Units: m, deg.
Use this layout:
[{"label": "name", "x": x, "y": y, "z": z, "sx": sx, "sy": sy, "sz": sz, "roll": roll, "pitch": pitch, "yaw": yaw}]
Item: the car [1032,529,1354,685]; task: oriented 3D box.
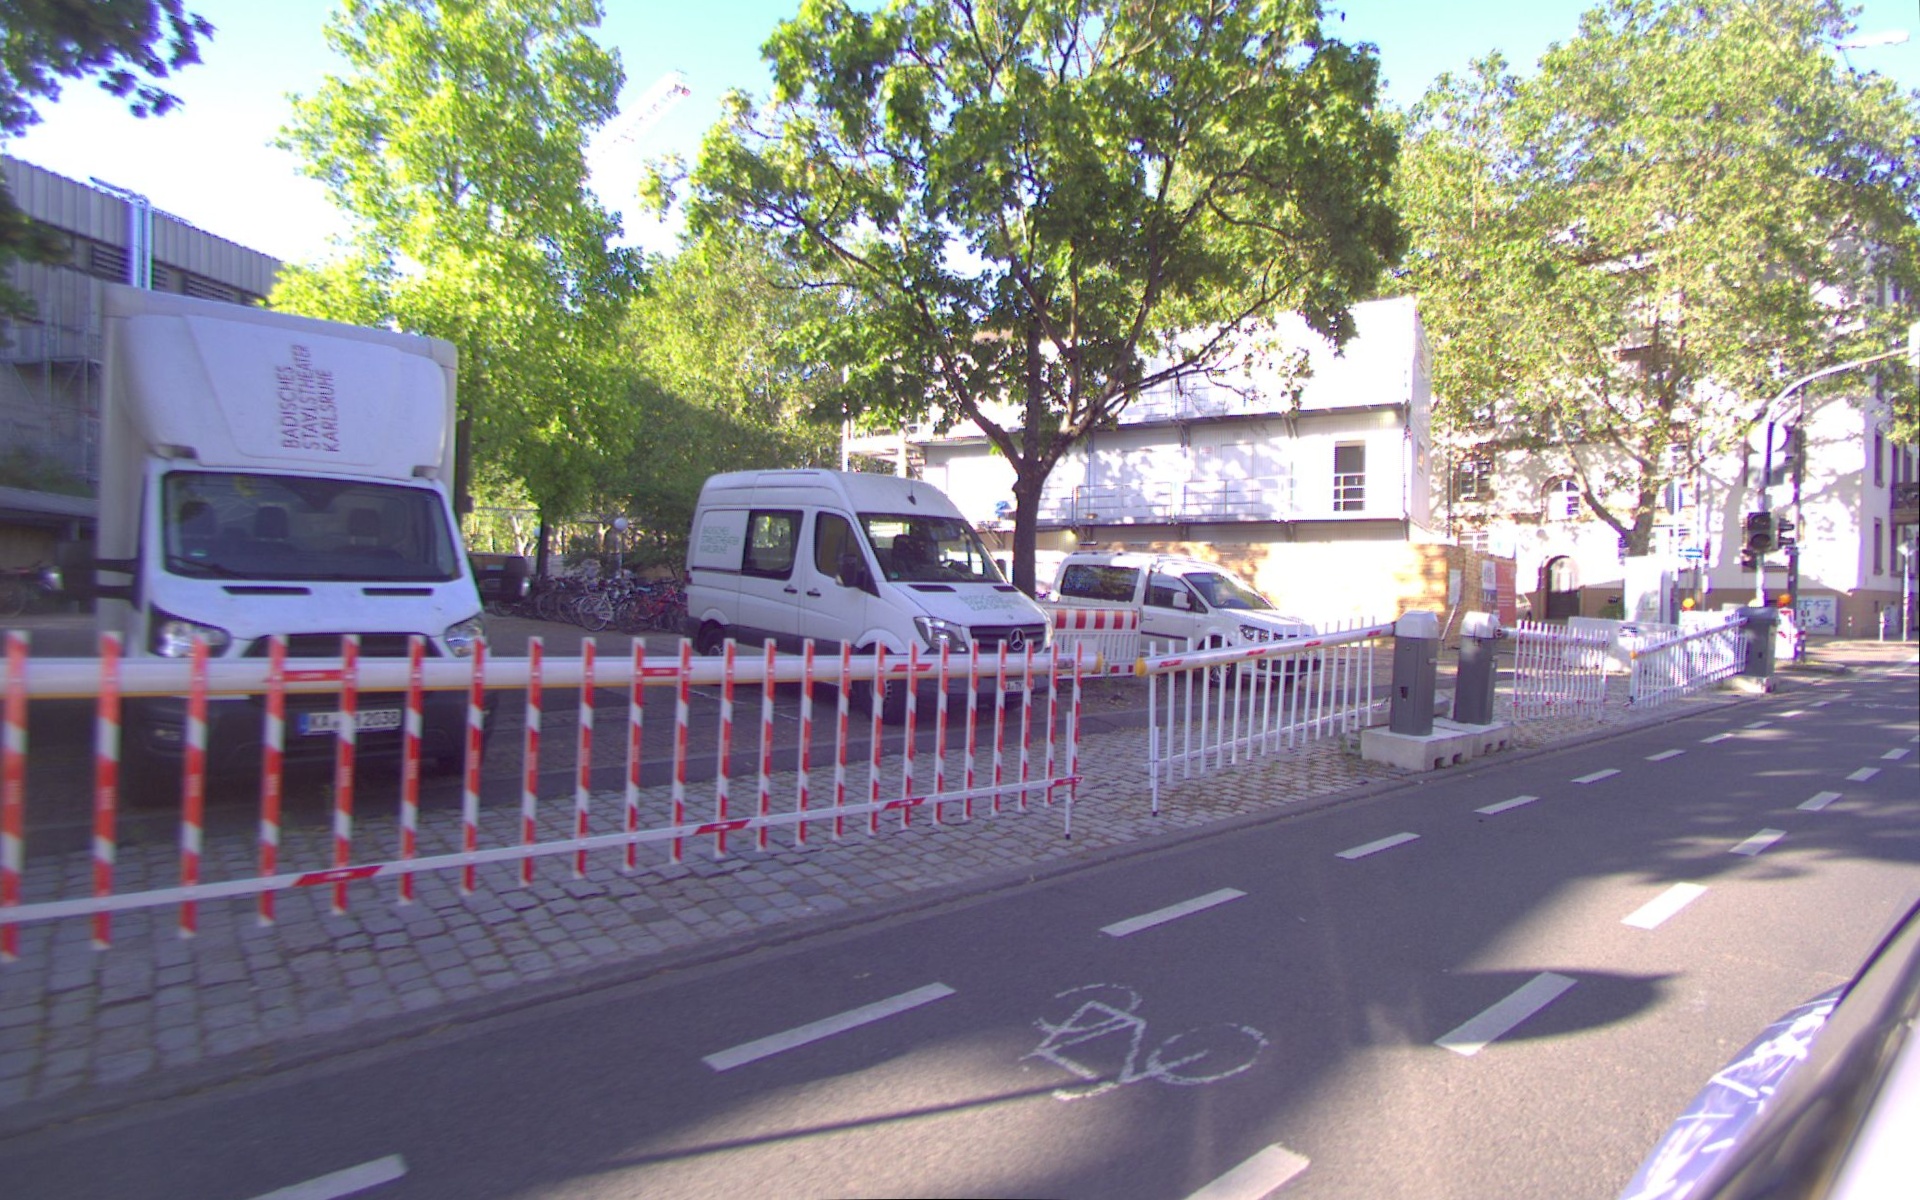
[{"label": "car", "x": 3.406, "y": 0.068, "z": 15.736, "sx": 1.962, "sy": 2.035, "sz": 4.797, "roll": 0, "pitch": 1, "yaw": -36}]

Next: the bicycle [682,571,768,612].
[{"label": "bicycle", "x": -7.854, "y": -0.291, "z": 33.937, "sx": 2.804, "sy": 1.316, "sz": 0.702, "roll": 0, "pitch": 1, "yaw": -41}]

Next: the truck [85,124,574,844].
[{"label": "truck", "x": -5.632, "y": -0.722, "z": 8.343, "sx": 2.330, "sy": 3.460, "sz": 7.090, "roll": -1, "pitch": 3, "yaw": -41}]

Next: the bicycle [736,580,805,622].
[{"label": "bicycle", "x": -6.103, "y": 0.019, "z": 32.629, "sx": 2.293, "sy": 1.300, "sz": 0.507, "roll": 0, "pitch": 1, "yaw": -45}]

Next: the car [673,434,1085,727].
[{"label": "car", "x": -1.216, "y": -0.249, "z": 11.626, "sx": 1.979, "sy": 2.594, "sz": 5.332, "roll": -1, "pitch": 2, "yaw": -41}]

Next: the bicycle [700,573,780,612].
[{"label": "bicycle", "x": -7.202, "y": -0.251, "z": 33.291, "sx": 2.614, "sy": 1.241, "sz": 0.701, "roll": 0, "pitch": 1, "yaw": -45}]
